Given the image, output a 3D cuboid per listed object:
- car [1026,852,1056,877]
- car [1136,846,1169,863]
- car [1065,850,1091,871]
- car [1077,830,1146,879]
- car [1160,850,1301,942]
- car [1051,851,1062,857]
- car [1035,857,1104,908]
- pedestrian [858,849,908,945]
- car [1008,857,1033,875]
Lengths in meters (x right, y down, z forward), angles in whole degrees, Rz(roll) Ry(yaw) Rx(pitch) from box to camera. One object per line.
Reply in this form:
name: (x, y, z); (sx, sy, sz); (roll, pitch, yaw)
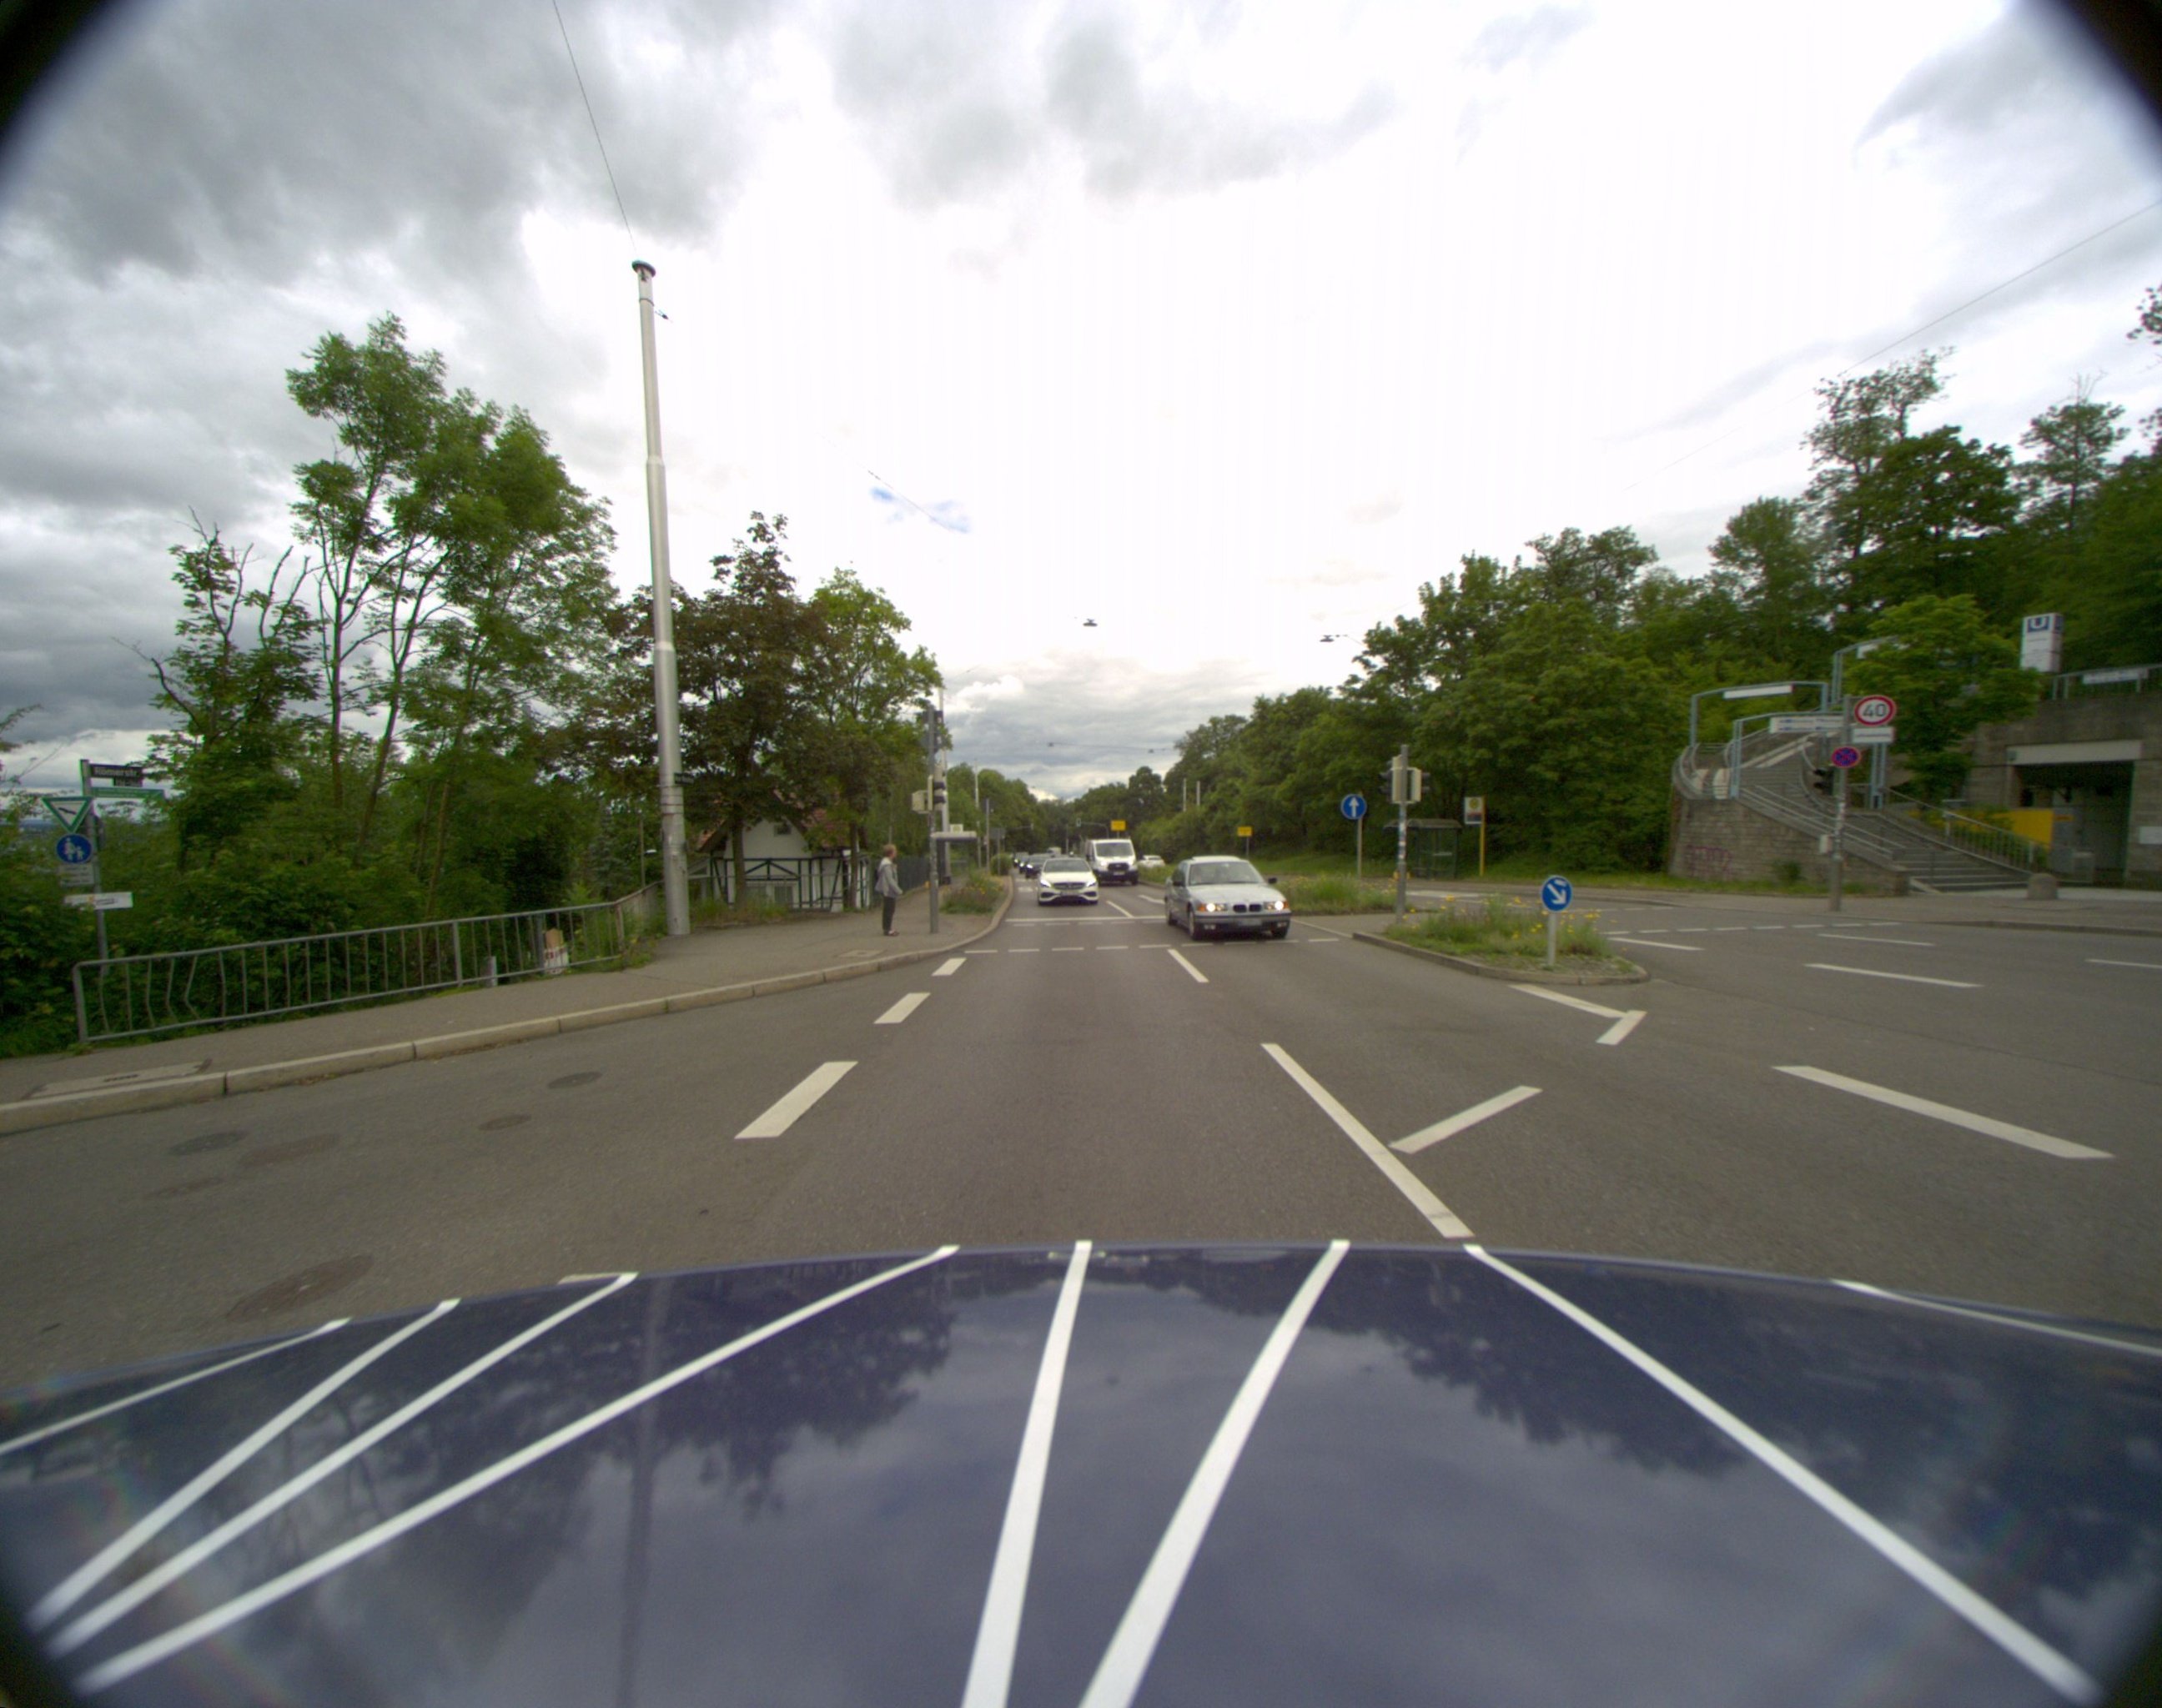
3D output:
car: (-2.675, 0.633, 49.884); (1.679, 1.532, 4.611); (0, 1, -7)
car: (5.963, 0.046, 63.735); (1.723, 1.385, 4.605); (0, 0, -9)
car: (-0.295, 0.469, 58.597); (1.678, 1.532, 4.550); (0, 1, -5)
car: (1.351, -0.013, 36.998); (2.254, 2.114, 6.664); (-1, 1, -7)
car: (2.609, 0.653, 14.345); (1.757, 1.385, 4.614); (-1, 1, 0)
car: (-7.111, -0.027, 220.869); (1.761, 1.863, 4.620); (0, 0, 14)
car: (-0.443, 0.825, 23.927); (1.808, 1.385, 4.281); (0, 1, -6)
pedestrian: (-3.599, 0.753, 13.829); (0.621, 1.679, 0.693); (-1, 3, -42)
car: (-5.066, 0.988, 63.065); (1.808, 1.385, 4.280); (-1, 1, -7)
